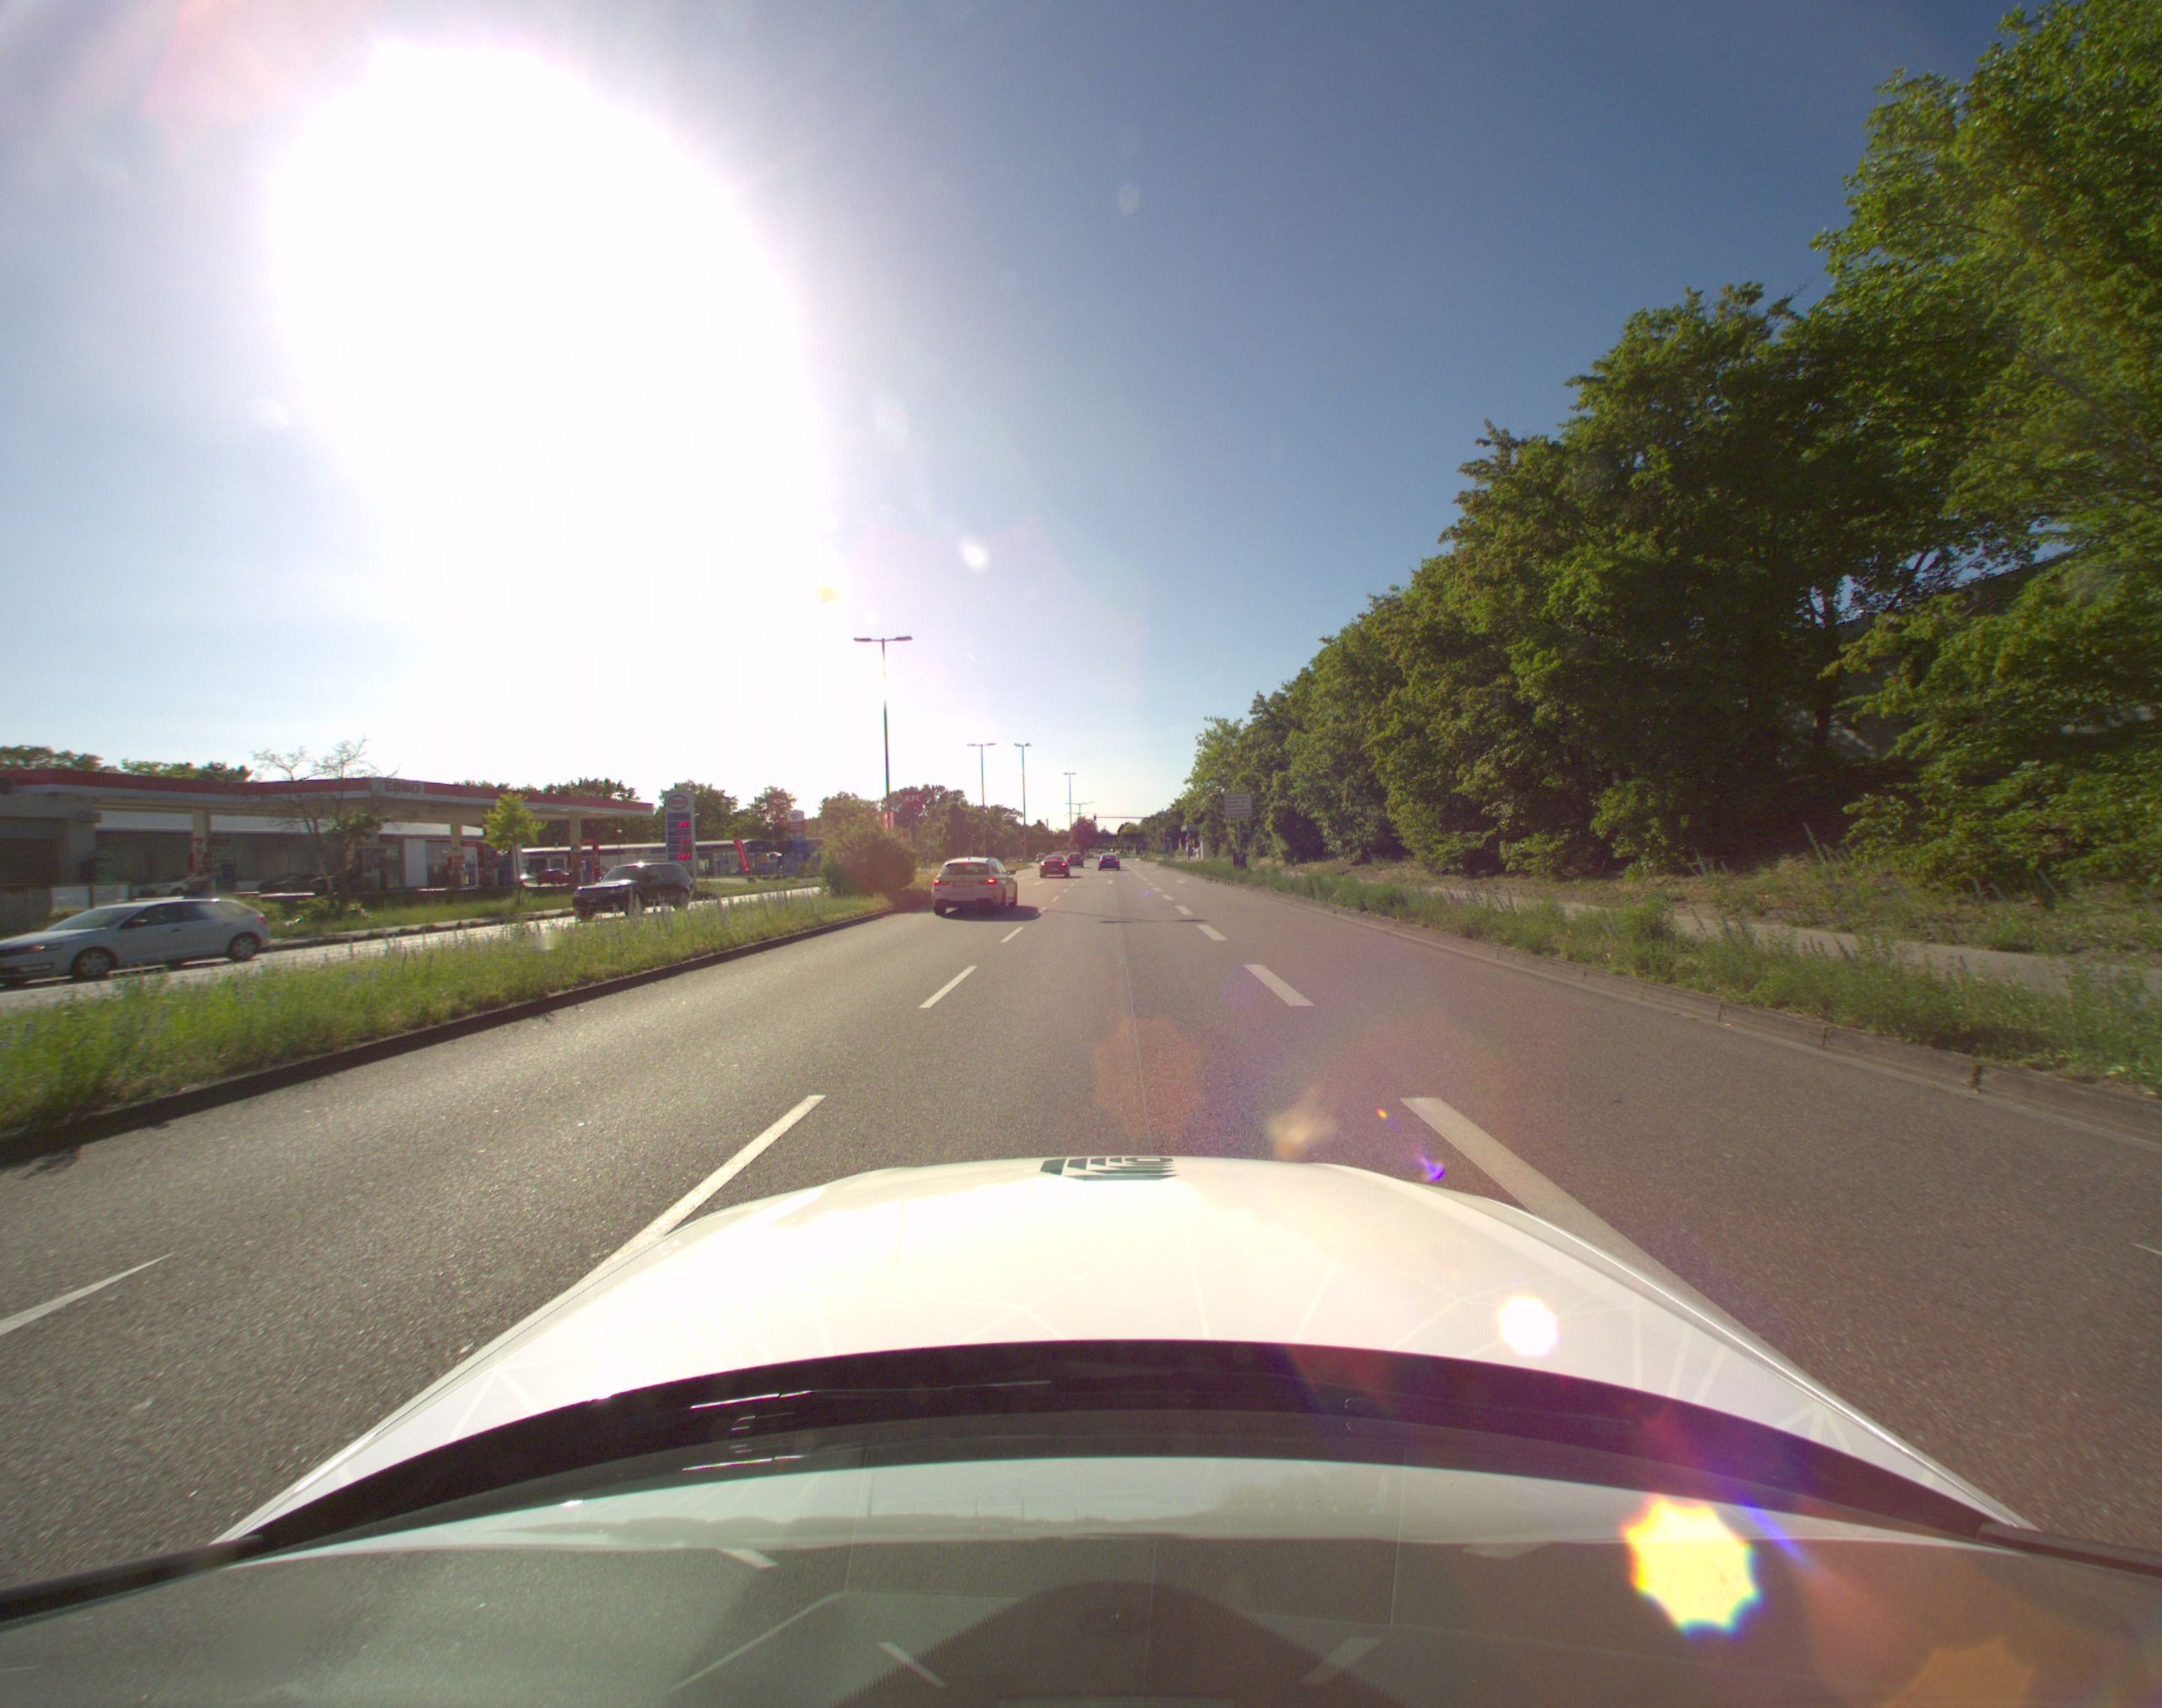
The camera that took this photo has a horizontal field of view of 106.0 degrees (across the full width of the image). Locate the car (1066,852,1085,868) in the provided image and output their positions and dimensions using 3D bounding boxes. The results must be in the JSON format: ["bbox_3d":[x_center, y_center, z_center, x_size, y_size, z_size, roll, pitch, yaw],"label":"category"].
[{"bbox_3d":[-0.547,0.603,86.534,1.854,1.565,4.549,-1,0,2],"label":"car"}]

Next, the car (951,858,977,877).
[{"bbox_3d":[-9.797,1.092,68.480,1.487,1.508,3.488,-1,0,2],"label":"car"}]

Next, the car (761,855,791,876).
[{"bbox_3d":[-34.171,1.271,91.348,1.812,2.209,4.001,-2,0,1],"label":"car"}]

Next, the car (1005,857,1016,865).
[{"bbox_3d":[-13.704,1.338,159.379,1.697,1.402,3.725,-1,0,2],"label":"car"}]

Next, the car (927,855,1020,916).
[{"bbox_3d":[-2.825,0.774,22.313,1.855,1.455,4.548,0,0,1],"label":"car"}]

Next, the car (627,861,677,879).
[{"bbox_3d":[-46.809,1.740,88.903,4.371,1.842,1.999,-1,0,-1],"label":"car"}]

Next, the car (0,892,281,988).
[{"bbox_3d":[-19.364,1.669,16.632,1.733,1.455,4.211,-4,0,2],"label":"car"}]

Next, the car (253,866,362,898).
[{"bbox_3d":[-39.908,1.440,42.079,3.964,1.475,2.005,-2,0,8],"label":"car"}]

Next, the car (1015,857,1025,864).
[{"bbox_3d":[-12.944,1.270,173.215,1.697,1.402,3.725,-2,0,2],"label":"car"}]

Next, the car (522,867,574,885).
[{"bbox_3d":[-49.823,2.061,76.201,1.803,1.550,4.297,-1,0,3],"label":"car"}]

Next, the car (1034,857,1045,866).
[{"bbox_3d":[-7.597,1.305,149.189,1.529,1.581,3.673,-2,0,2],"label":"car"}]

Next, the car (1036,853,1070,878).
[{"bbox_3d":[-1.761,0.705,52.920,1.855,1.455,4.549,-2,0,2],"label":"car"}]

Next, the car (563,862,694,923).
[{"bbox_3d":[-15.801,1.260,28.768,1.733,1.802,4.674,-4,0,2],"label":"car"}]

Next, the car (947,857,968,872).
[{"bbox_3d":[-13.384,1.148,88.661,1.529,1.452,3.673,-3,0,2],"label":"car"}]

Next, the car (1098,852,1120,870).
[{"bbox_3d":[2.478,0.603,72.180,1.855,1.499,4.338,-1,0,2],"label":"car"}]
